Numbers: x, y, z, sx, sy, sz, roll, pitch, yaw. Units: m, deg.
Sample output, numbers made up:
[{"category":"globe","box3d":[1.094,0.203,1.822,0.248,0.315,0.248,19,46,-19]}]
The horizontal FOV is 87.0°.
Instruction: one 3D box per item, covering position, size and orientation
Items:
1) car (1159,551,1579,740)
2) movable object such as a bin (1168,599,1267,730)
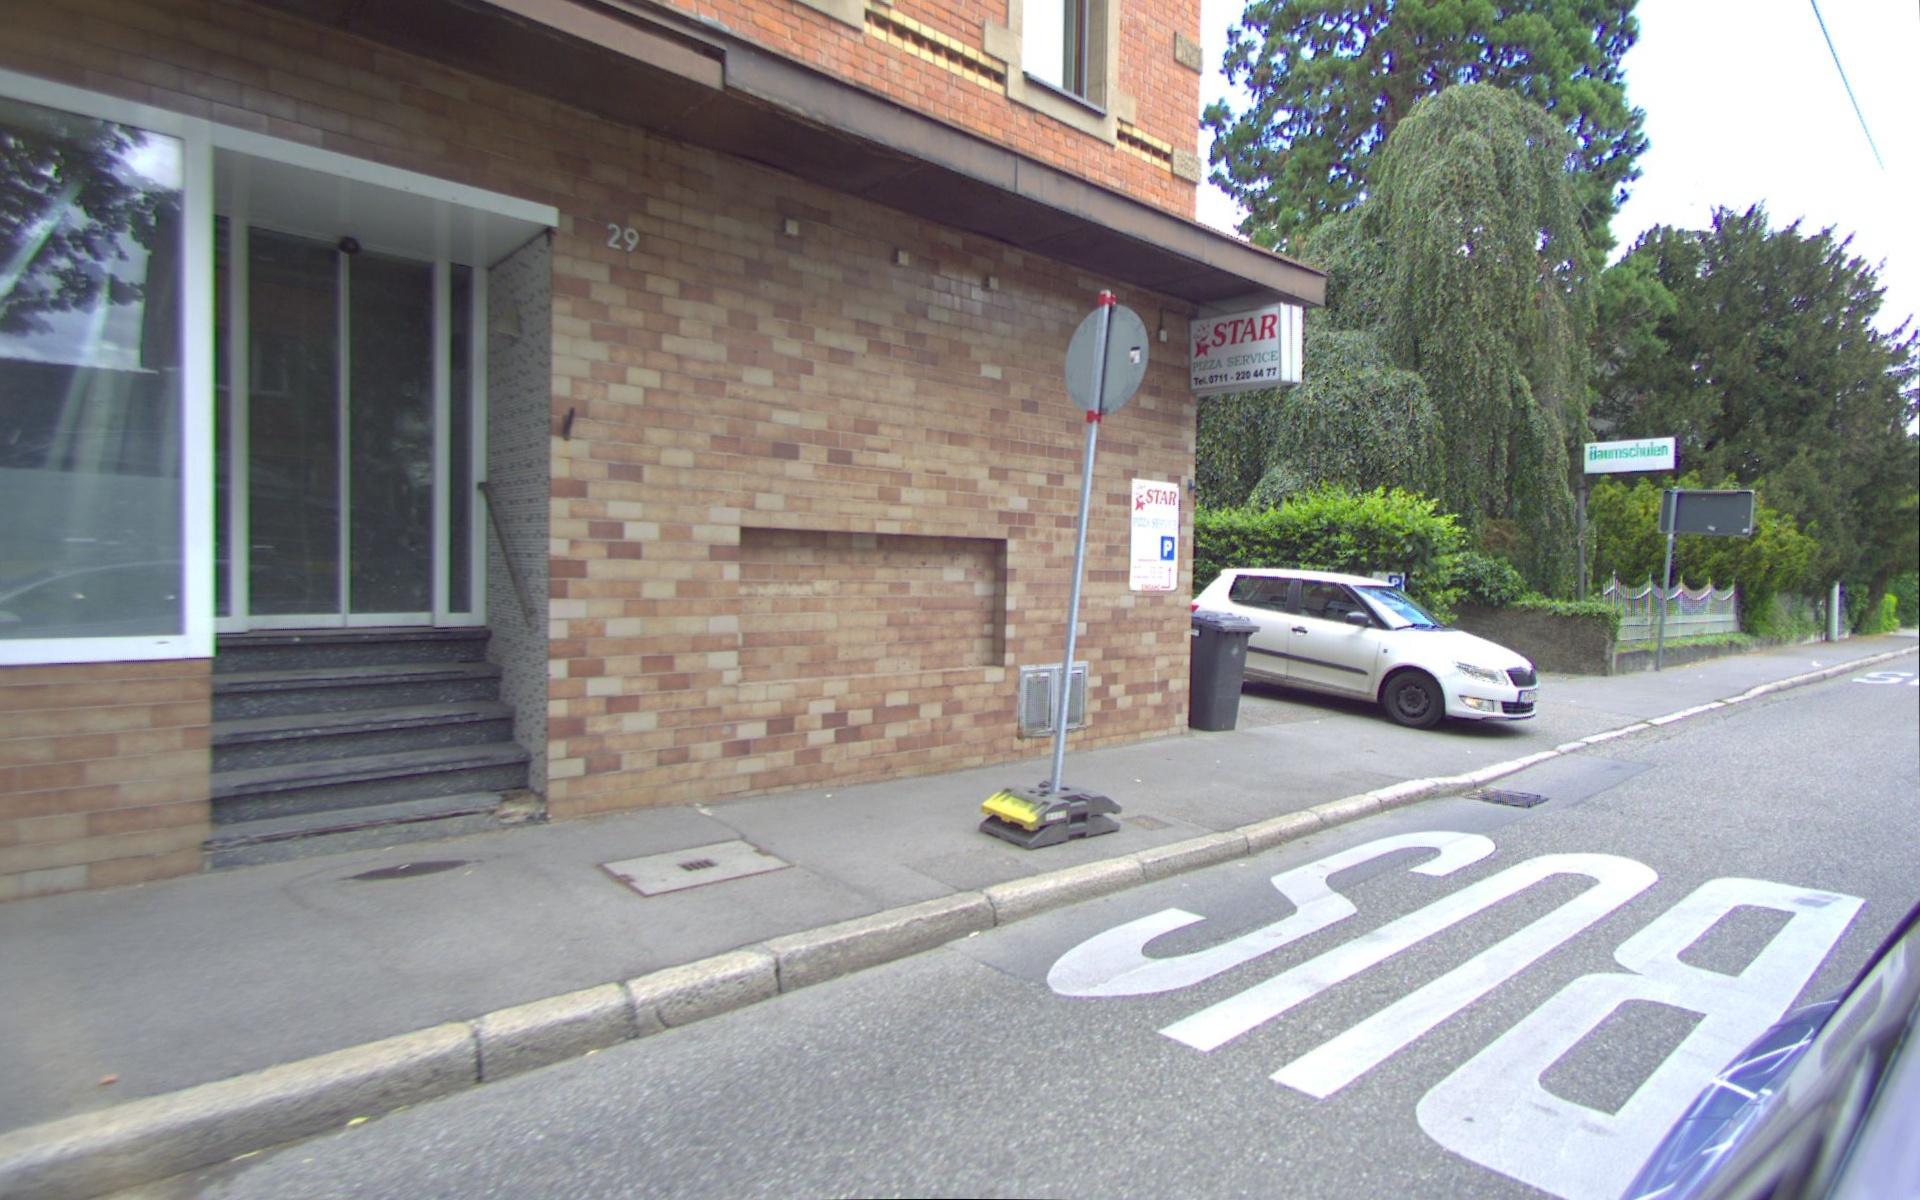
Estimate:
[{"category":"car","box3d":[4.412,0.345,11.429,1.574,1.487,4.037,-1,6,-42]},{"category":"movable object such as a bin","box3d":[2.384,0.570,9.373,0.612,1.114,0.608,-1,4,-41]}]
